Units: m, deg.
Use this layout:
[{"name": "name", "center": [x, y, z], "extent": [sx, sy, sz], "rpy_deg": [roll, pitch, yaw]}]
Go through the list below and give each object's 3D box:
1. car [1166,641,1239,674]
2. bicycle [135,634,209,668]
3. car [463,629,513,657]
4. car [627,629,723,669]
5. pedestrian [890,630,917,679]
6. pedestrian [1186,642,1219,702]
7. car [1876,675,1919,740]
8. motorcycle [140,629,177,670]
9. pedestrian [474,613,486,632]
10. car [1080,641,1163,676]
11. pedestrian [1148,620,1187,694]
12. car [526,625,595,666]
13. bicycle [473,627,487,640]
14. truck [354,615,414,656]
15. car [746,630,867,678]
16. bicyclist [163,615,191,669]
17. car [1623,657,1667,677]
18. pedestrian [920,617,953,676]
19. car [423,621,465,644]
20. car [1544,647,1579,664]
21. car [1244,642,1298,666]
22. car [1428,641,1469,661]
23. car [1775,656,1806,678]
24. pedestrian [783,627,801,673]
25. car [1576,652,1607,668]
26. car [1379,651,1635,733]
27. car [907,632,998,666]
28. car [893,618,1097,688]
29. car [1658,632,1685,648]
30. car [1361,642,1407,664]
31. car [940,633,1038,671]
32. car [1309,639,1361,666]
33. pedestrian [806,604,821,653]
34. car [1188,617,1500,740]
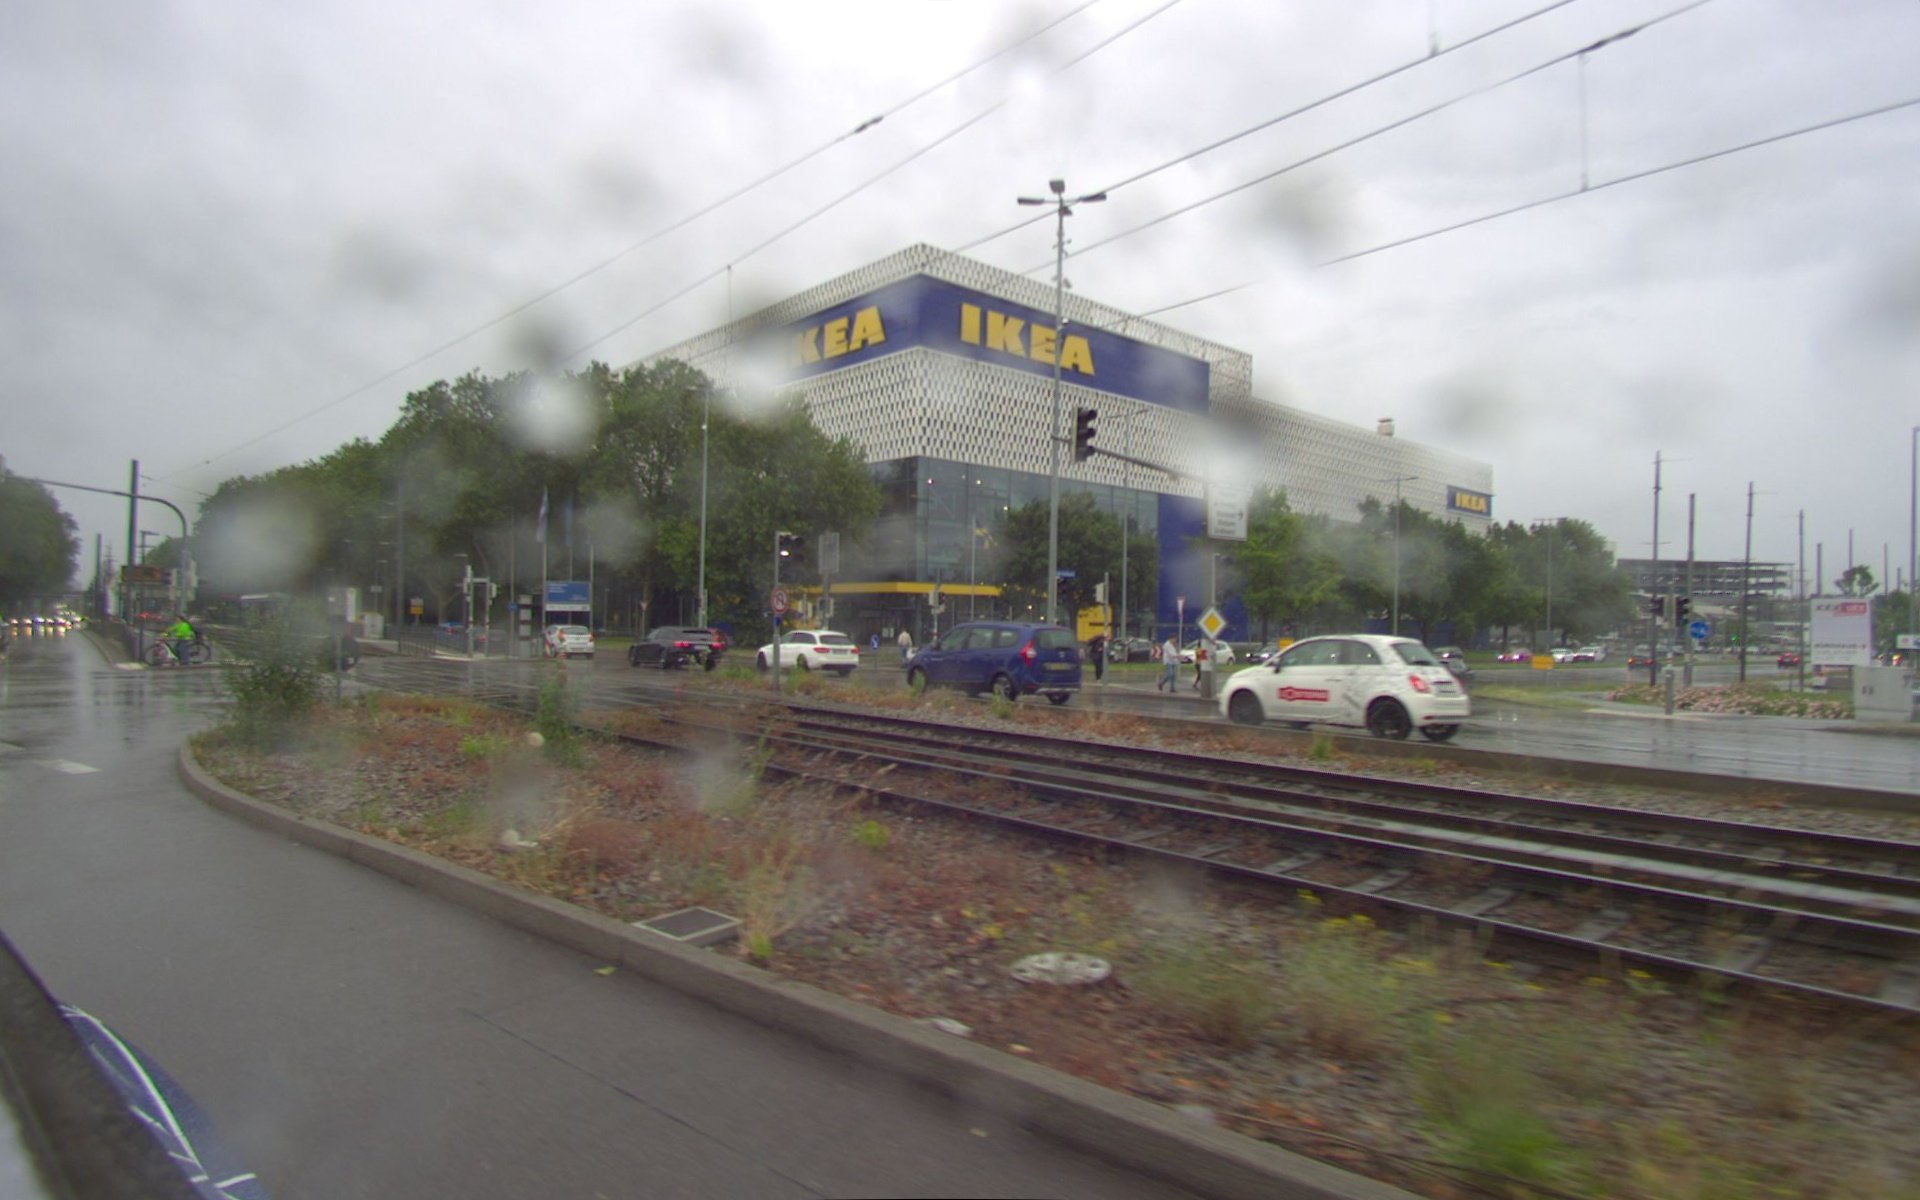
[{"name": "car", "center": [13.560, 3.181, 56.496], "extent": [4.046, 1.615, 2.003], "rpy_deg": [-1, 0, -41]}, {"name": "bicycle", "center": [-26.098, 1.680, 33.534], "extent": [1.844, 1.016, 0.670], "rpy_deg": [-2, -1, -44]}, {"name": "car", "center": [-25.263, 2.304, 54.088], "extent": [1.561, 1.377, 4.210], "rpy_deg": [-1, -1, -37]}, {"name": "car", "center": [-9.888, 1.669, 34.940], "extent": [1.690, 1.259, 4.054], "rpy_deg": [-1, -1, -39]}, {"name": "pedestrian", "center": [-2.429, 2.340, 43.508], "extent": [0.772, 2.029, 0.860], "rpy_deg": [-1, 0, -35]}, {"name": "pedestrian", "center": [7.710, 2.261, 32.187], "extent": [0.768, 1.832, 0.706], "rpy_deg": [-1, 0, 41]}, {"name": "car", "center": [34.229, 3.745, 34.746], "extent": [1.971, 2.029, 4.003], "rpy_deg": [-2, 0, -44]}, {"name": "motorcycle", "center": [-25.564, 1.567, 32.311], "extent": [0.519, 1.230, 1.406], "rpy_deg": [-2, -1, -22]}, {"name": "pedestrian", "center": [-35.789, 1.661, 75.407], "extent": [0.686, 1.345, 0.571], "rpy_deg": [-1, 0, 43]}, {"name": "car", "center": [8.335, 2.982, 51.979], "extent": [4.313, 1.552, 1.822], "rpy_deg": [-1, -1, -40]}, {"name": "pedestrian", "center": [5.908, 1.606, 28.848], "extent": [0.858, 2.029, 0.687], "rpy_deg": [-1, 0, 41]}, {"name": "car", "center": [-18.020, 2.029, 45.575], "extent": [1.690, 1.721, 4.438], "rpy_deg": [-1, -1, -38]}, {"name": "bicycle", "center": [-35.795, 2.495, 75.418], "extent": [1.176, 0.863, 0.566], "rpy_deg": [0, 0, 44]}, {"name": "truck", "center": [-48.751, 2.906, 85.534], "extent": [2.707, 2.870, 9.108], "rpy_deg": [-1, 2, -41]}, {"name": "car", "center": [-5.209, 1.773, 33.856], "extent": [1.789, 1.447, 4.720], "rpy_deg": [-1, -1, -40]}, {"name": "bicyclist", "center": [-25.981, 1.380, 33.568], "extent": [0.609, 1.745, 0.793], "rpy_deg": [-1, -1, -44]}, {"name": "car", "center": [58.667, 5.688, 86.675], "extent": [4.155, 1.417, 2.040], "rpy_deg": [-1, 0, -40]}, {"name": "pedestrian", "center": [-0.943, 1.836, 40.451], "extent": [0.905, 2.261, 0.993], "rpy_deg": [-2, 2, -28]}, {"name": "car", "center": [-33.936, 2.139, 66.488], "extent": [1.562, 1.425, 3.921], "rpy_deg": [-1, -1, -40]}, {"name": "car", "center": [59.402, 5.447, 99.973], "extent": [4.101, 1.417, 1.712], "rpy_deg": [-1, 0, -40]}, {"name": "car", "center": [20.621, 3.551, 67.042], "extent": [3.765, 1.417, 1.605], "rpy_deg": [-1, 0, -40]}, {"name": "car", "center": [40.569, 4.214, 84.045], "extent": [3.765, 1.417, 1.605], "rpy_deg": [-1, 0, -40]}, {"name": "car", "center": [89.778, 7.219, 109.388], "extent": [3.937, 2.029, 2.003], "rpy_deg": [-1, 0, -41]}, {"name": "pedestrian", "center": [-7.586, 2.269, 45.704], "extent": [0.683, 2.029, 0.629], "rpy_deg": [-2, -1, -11]}, {"name": "car", "center": [65.661, 6.249, 105.199], "extent": [3.765, 1.417, 1.605], "rpy_deg": [-1, 0, -40]}, {"name": "car", "center": [10.154, 1.645, 19.052], "extent": [1.561, 1.259, 3.923], "rpy_deg": [-1, -1, -37]}, {"name": "car", "center": [-0.313, 2.344, 49.021], "extent": [4.221, 1.552, 1.822], "rpy_deg": [1, -3, -40]}, {"name": "car", "center": [0.619, 1.074, 21.259], "extent": [1.691, 1.259, 4.468], "rpy_deg": [-1, -1, -41]}, {"name": "car", "center": [94.747, 5.313, 134.812], "extent": [3.937, 2.029, 2.003], "rpy_deg": [-1, 0, -41]}, {"name": "car", "center": [32.068, 3.974, 76.544], "extent": [3.765, 1.417, 1.605], "rpy_deg": [-1, 0, -40]}, {"name": "car", "center": [1.360, 2.327, 46.321], "extent": [4.393, 1.552, 1.822], "rpy_deg": [0, -2, -40]}, {"name": "car", "center": [26.649, 3.709, 71.909], "extent": [3.950, 1.686, 1.685], "rpy_deg": [-1, 0, -40]}, {"name": "pedestrian", "center": [-6.664, 1.292, 46.085], "extent": [0.562, 2.151, 0.634], "rpy_deg": [-2, -1, -10]}, {"name": "car", "center": [5.609, 1.083, 15.202], "extent": [1.691, 1.547, 4.054], "rpy_deg": [-1, -1, -40]}]
